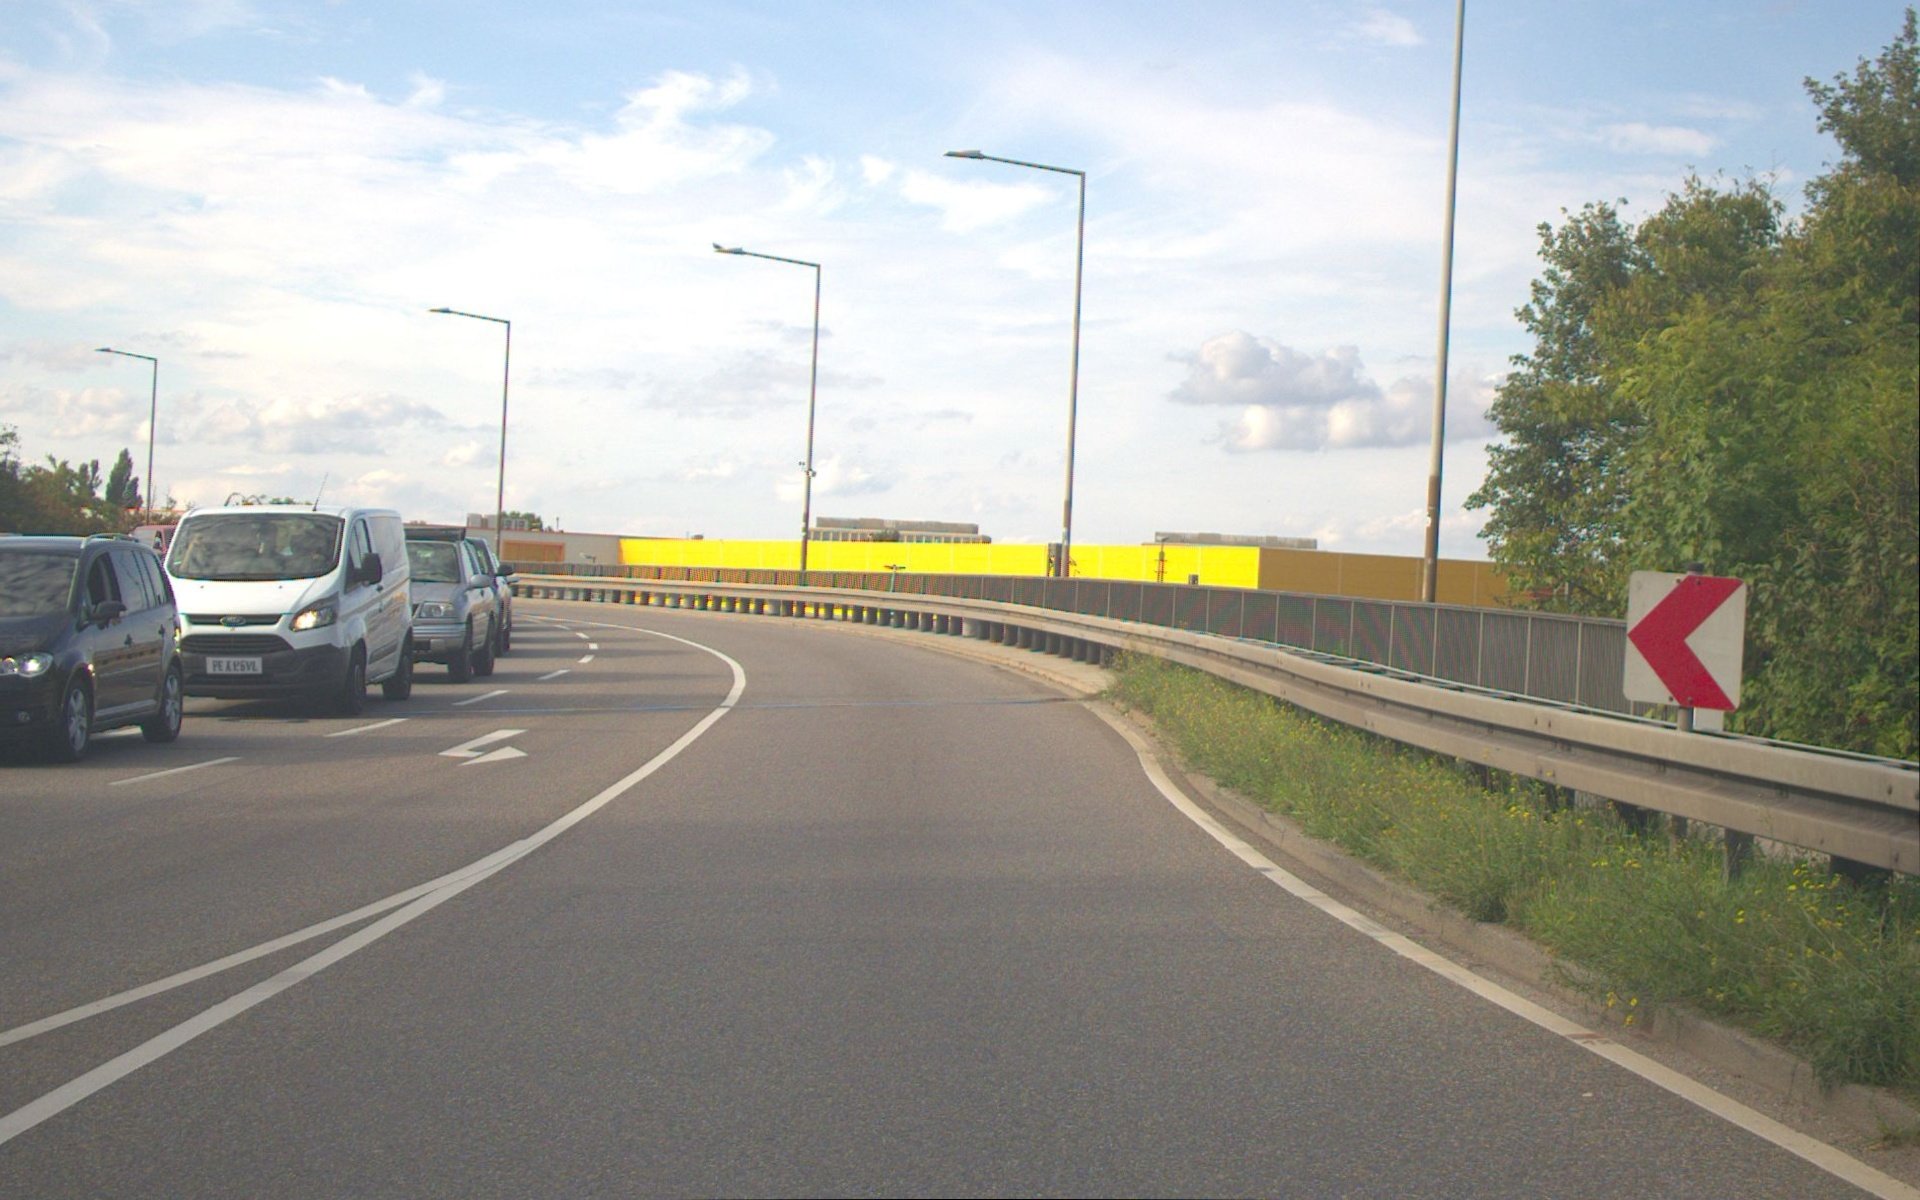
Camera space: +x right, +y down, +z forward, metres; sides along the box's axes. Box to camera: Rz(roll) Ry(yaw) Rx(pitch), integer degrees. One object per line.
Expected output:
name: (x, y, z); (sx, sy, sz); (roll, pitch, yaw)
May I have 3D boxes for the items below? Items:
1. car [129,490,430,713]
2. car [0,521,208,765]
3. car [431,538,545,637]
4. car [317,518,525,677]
car: (-6.412, -0.032, 32.970); (1.985, 1.957, 5.048); (1, 1, -1)
car: (-6.961, 0.242, 25.532); (1.746, 1.648, 4.453); (1, 1, 0)
car: (-7.731, -0.233, 56.067); (1.682, 1.540, 3.924); (0, 1, -10)
car: (-6.193, -0.065, 39.870); (1.773, 1.740, 3.837); (1, 1, 0)
